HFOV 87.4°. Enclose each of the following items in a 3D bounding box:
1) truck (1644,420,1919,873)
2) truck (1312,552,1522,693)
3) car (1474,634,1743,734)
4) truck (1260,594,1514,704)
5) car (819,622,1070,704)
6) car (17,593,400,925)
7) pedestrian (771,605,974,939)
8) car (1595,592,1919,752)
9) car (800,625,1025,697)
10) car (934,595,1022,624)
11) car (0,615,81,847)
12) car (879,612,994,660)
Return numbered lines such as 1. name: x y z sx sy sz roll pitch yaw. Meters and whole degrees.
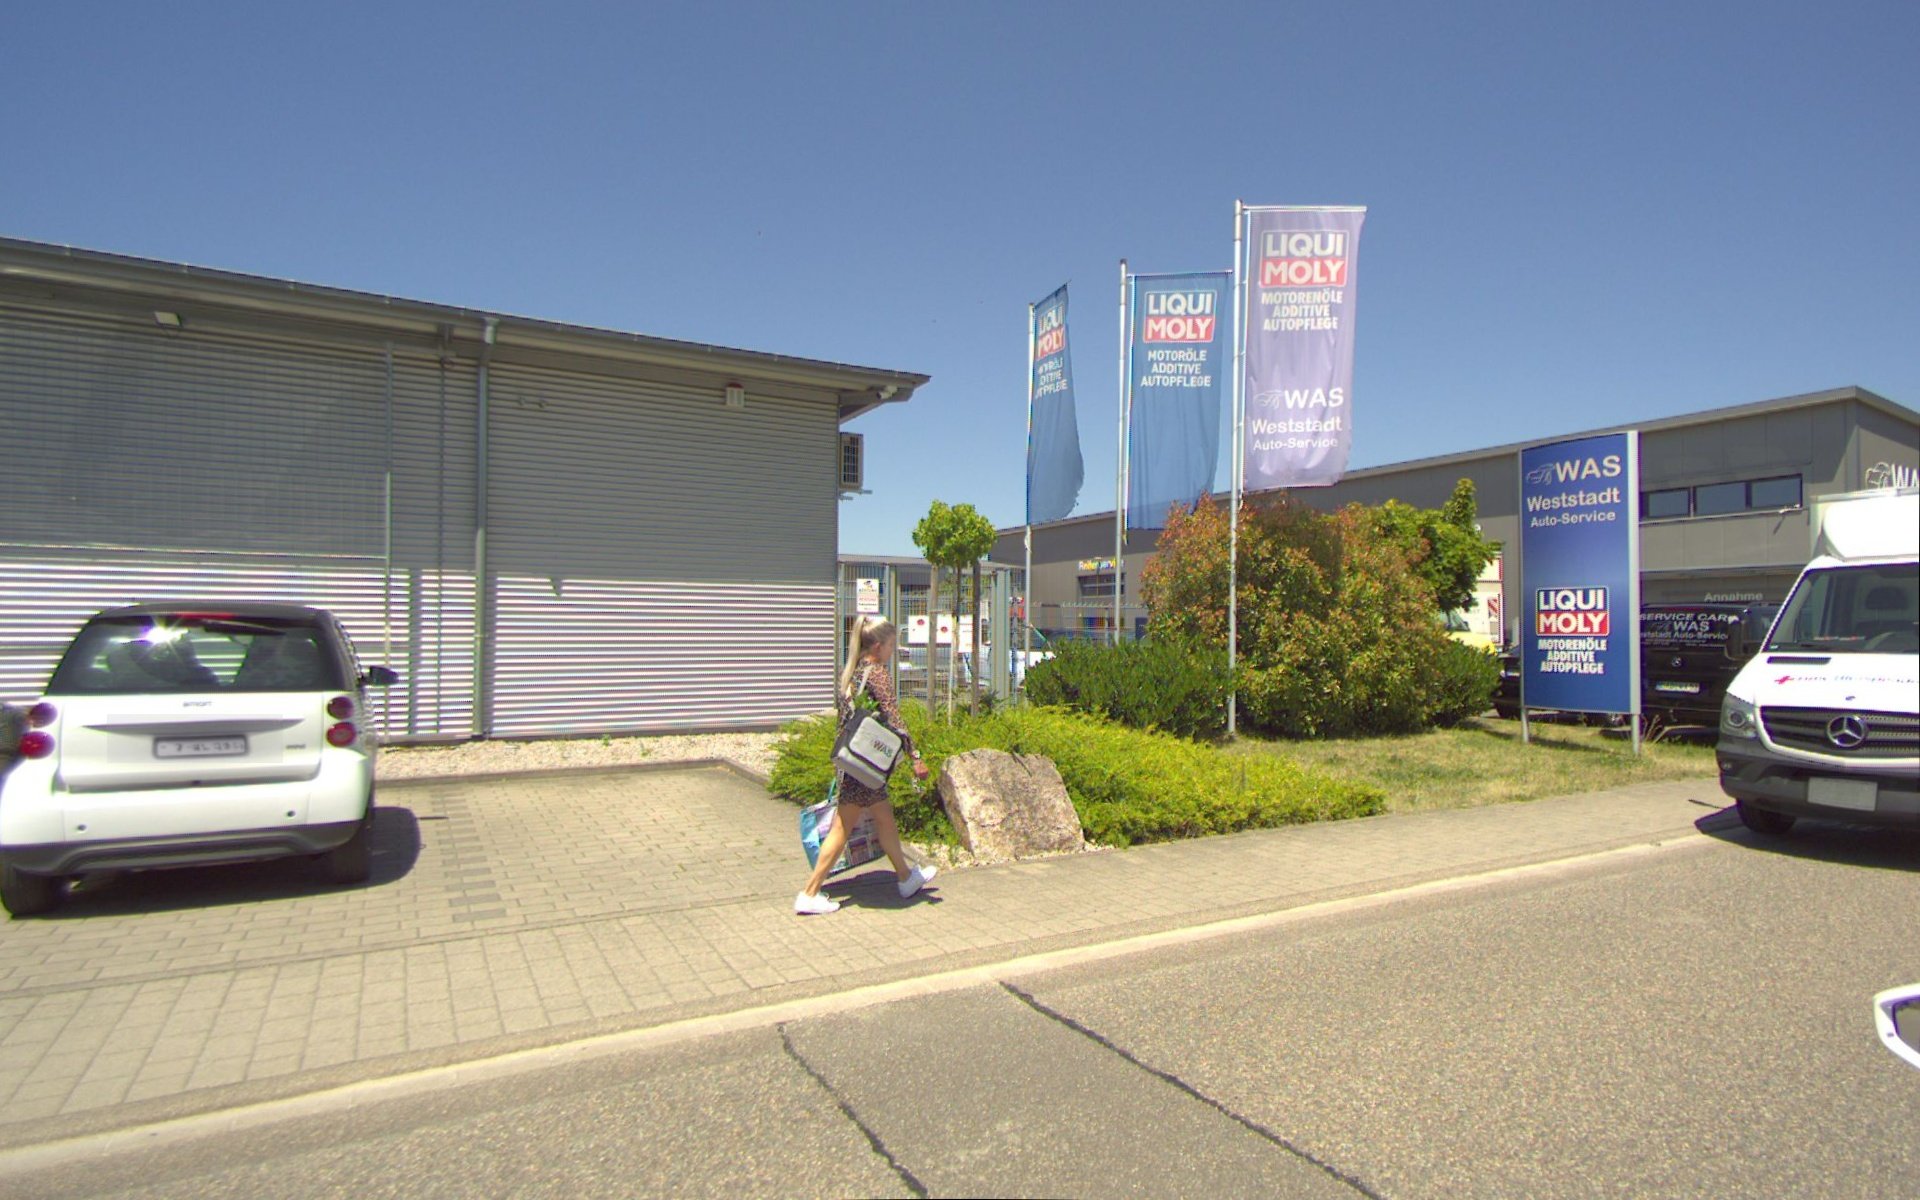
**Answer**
1. truck: 8.705 0.408 8.375 6.338 2.897 2.352 2 -4 -30
2. truck: 13.256 0.635 30.056 2.536 3.604 8.064 1 -1 0
3. car: 11.049 1.345 17.041 4.713 1.435 1.922 2 -1 -30
4. truck: 10.693 1.141 25.767 2.140 2.494 5.927 1 -1 -29
5. car: -0.259 1.224 20.186 4.713 1.435 1.922 2 -1 -30
6. car: -4.388 0.786 6.240 1.518 1.538 2.728 1 -2 -30
7. pedestrian: -0.494 0.834 5.408 0.776 1.595 0.895 1 0 -29
8. car: 11.678 0.986 14.623 5.157 1.982 1.984 2 -2 -30
9. car: -1.033 1.326 22.573 4.713 1.435 1.922 2 -1 -30
10. car: 0.928 0.526 52.535 4.334 1.441 1.786 1 -1 -10
11. car: -6.484 0.789 5.274 1.823 1.450 4.292 1 -1 -28
12. car: -0.892 1.189 34.138 1.914 1.435 4.733 2 -1 -29
